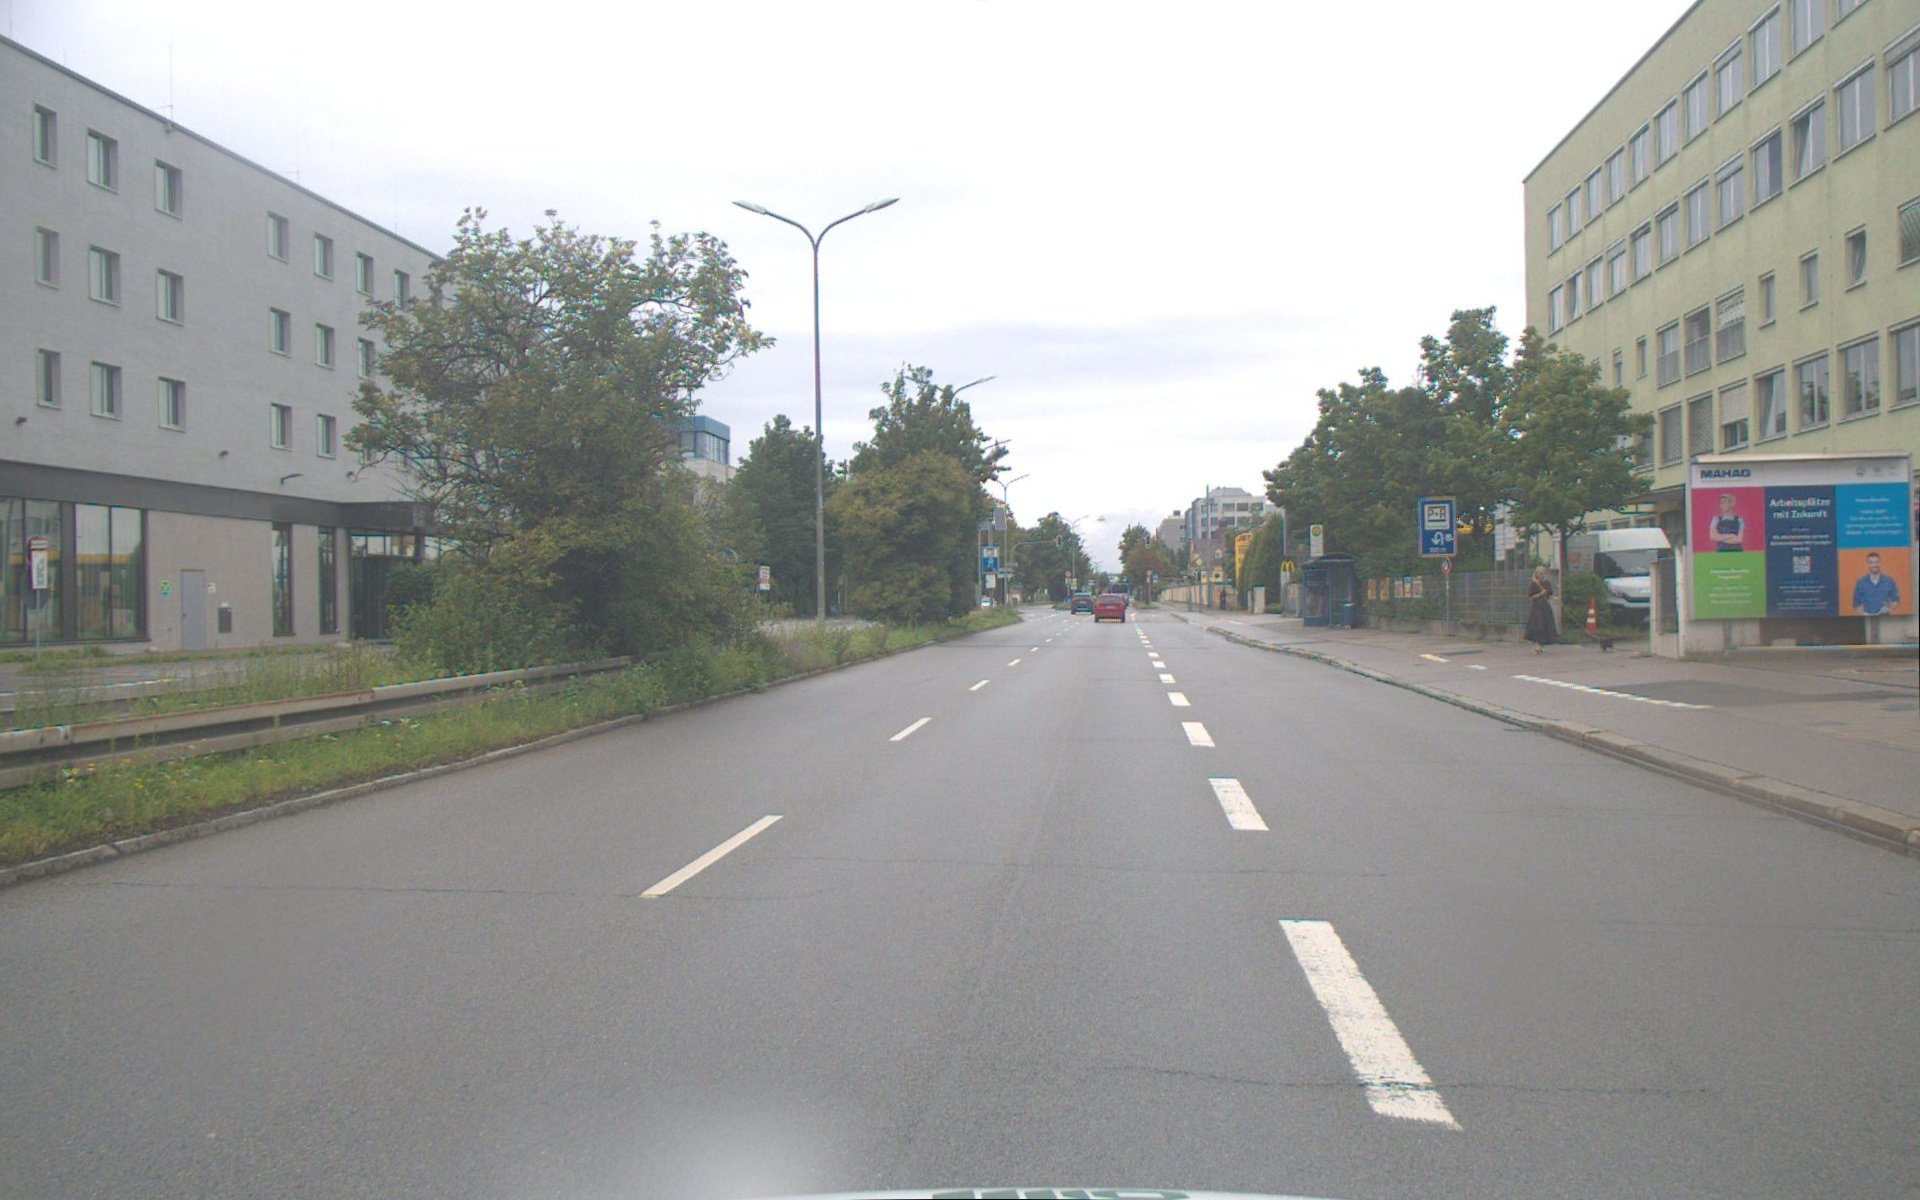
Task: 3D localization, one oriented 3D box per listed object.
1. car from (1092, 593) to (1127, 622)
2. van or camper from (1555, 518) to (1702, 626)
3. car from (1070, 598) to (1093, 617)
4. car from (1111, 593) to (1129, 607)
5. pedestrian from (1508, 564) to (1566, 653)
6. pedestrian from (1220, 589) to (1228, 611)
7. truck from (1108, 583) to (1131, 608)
[{"bbox_3d":[8.634,0.446,95.744,1.823,1.646,4.001,-1,0,3],"label":"car"},{"bbox_3d":[17.213,-0.688,43.000,2.079,2.540,7.395,-1,0,11],"label":"van or camper"},{"bbox_3d":[9.563,0.608,130.658,1.765,1.458,4.002,-1,0,4],"label":"car"},{"bbox_3d":[17.511,-0.013,181.147,1.765,1.458,4.002,-1,0,4],"label":"car"},{"bbox_3d":[11.807,0.171,33.861,0.743,1.758,0.895,-4,0,0],"label":"pedestrian"},{"bbox_3d":[19.714,-0.017,123.615,0.473,1.664,0.591,-1,0,4],"label":"pedestrian"},{"bbox_3d":[21.646,-0.619,224.549,2.907,3.343,7.919,-1,0,4],"label":"truck"}]
